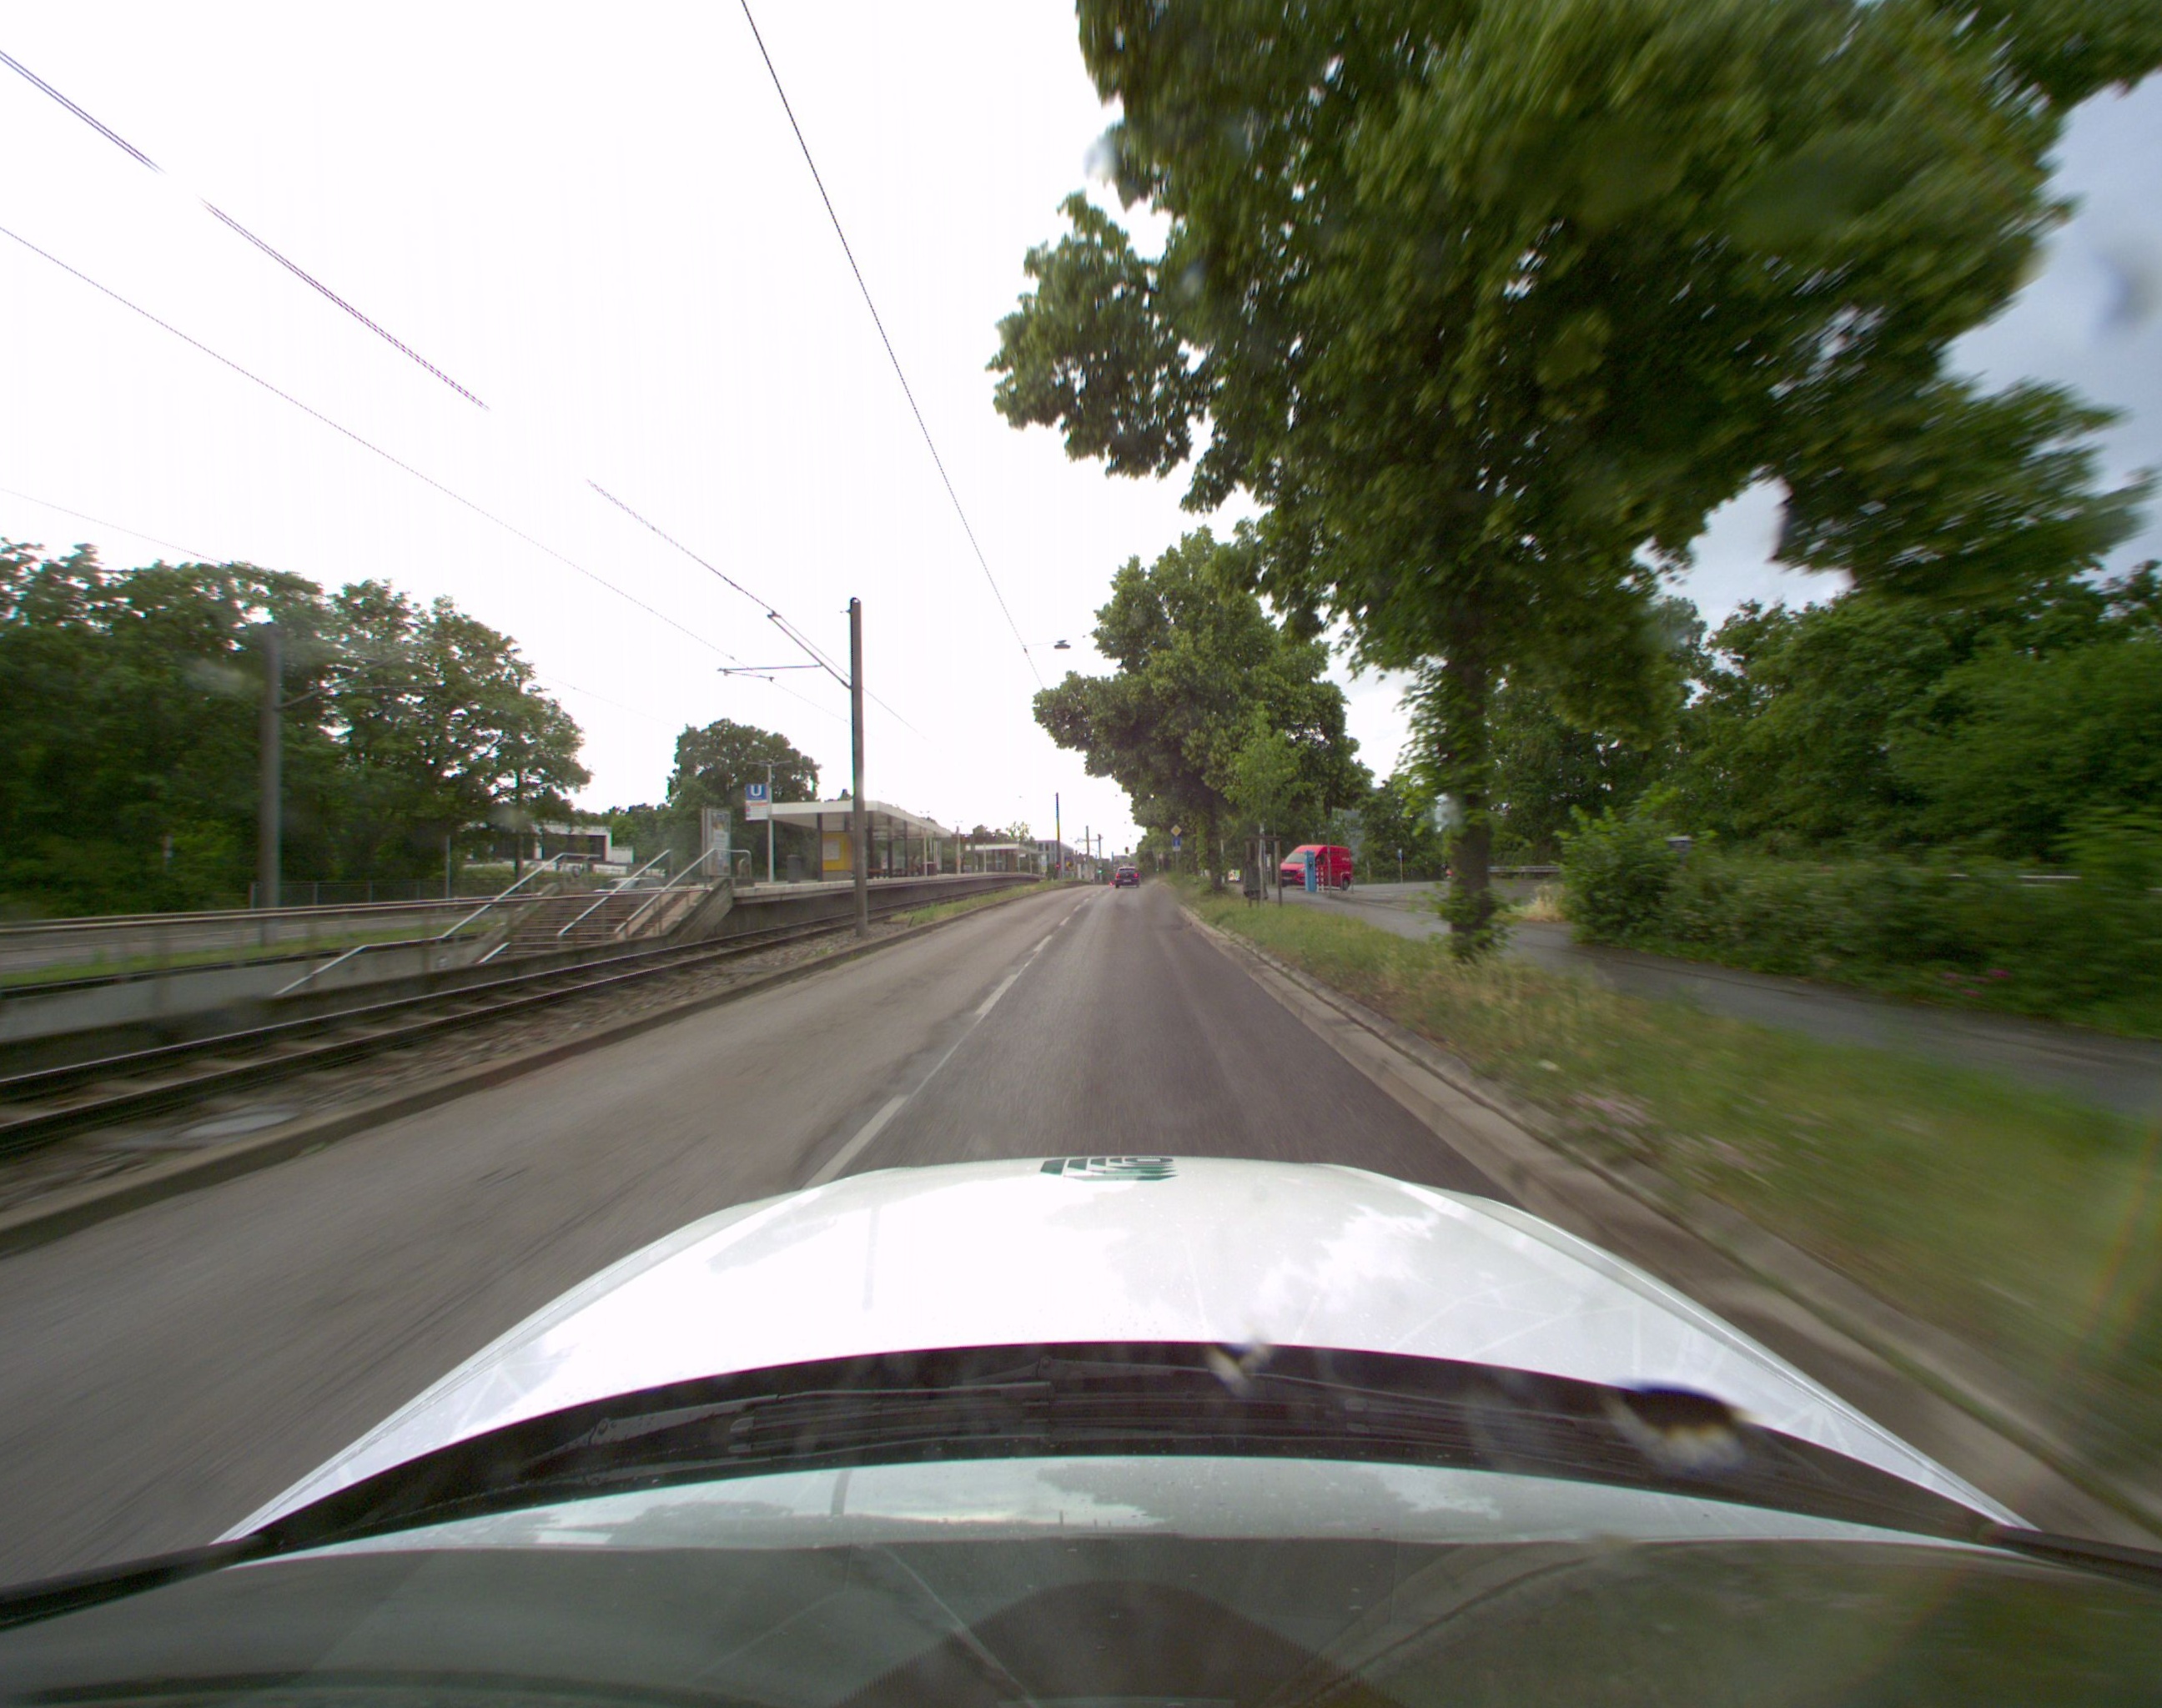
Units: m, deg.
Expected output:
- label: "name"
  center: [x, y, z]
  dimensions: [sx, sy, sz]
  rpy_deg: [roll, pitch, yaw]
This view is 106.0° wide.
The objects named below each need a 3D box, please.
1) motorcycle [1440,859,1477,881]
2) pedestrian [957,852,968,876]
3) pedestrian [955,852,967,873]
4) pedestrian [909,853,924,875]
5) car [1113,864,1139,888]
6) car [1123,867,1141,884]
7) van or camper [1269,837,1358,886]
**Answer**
- label: "motorcycle"
  center: [23.833, 1.037, 51.399]
  dimensions: [1.998, 1.214, 0.476]
  rpy_deg: [-6, -9, 42]
- label: "pedestrian"
  center: [-9.482, 0.762, 64.882]
  dimensions: [0.745, 1.909, 0.837]
  rpy_deg: [0, 0, -18]
- label: "pedestrian"
  center: [-9.394, 0.647, 63.884]
  dimensions: [0.797, 1.647, 0.913]
  rpy_deg: [0, 1, -18]
- label: "pedestrian"
  center: [-9.210, 0.563, 45.580]
  dimensions: [0.707, 1.225, 0.620]
  rpy_deg: [-1, -1, 3]
- label: "car"
  center: [3.148, 1.482, 57.168]
  dimensions: [1.720, 1.540, 4.002]
  rpy_deg: [-2, 0, 2]
- label: "car"
  center: [4.988, 2.094, 79.599]
  dimensions: [1.680, 1.517, 4.003]
  rpy_deg: [-2, 0, 3]
- label: "van or camper"
  center: [12.278, 0.430, 42.798]
  dimensions: [5.422, 2.406, 2.016]
  rpy_deg: [3, -1, -44]
